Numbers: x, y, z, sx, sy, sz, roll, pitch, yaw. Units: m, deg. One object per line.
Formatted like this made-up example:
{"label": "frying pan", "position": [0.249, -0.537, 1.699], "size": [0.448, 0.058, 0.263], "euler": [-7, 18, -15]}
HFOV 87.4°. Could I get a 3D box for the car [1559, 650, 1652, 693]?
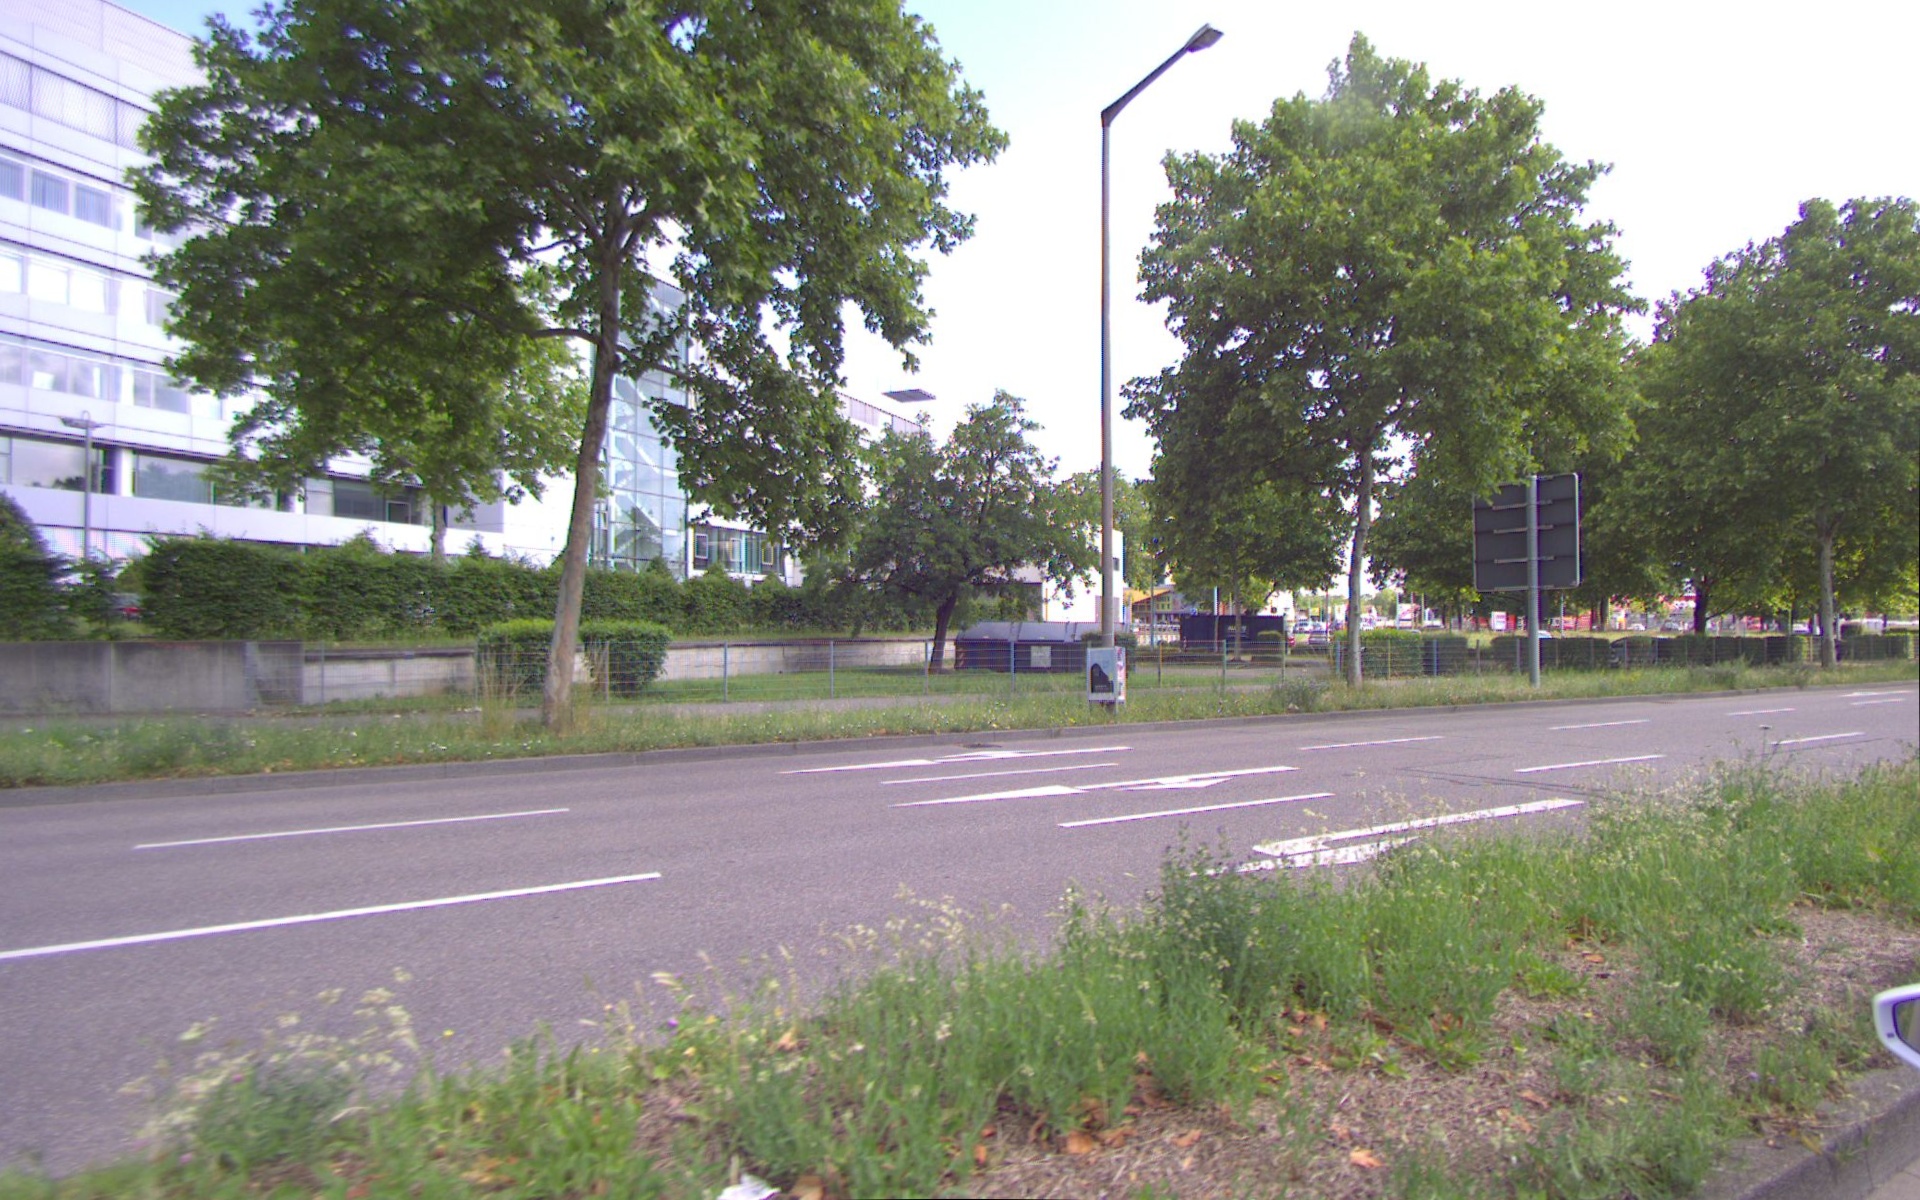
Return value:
{"label": "car", "position": [28.530, 3.165, 44.384], "size": [3.956, 1.616, 1.882], "euler": [6, -3, -31]}
